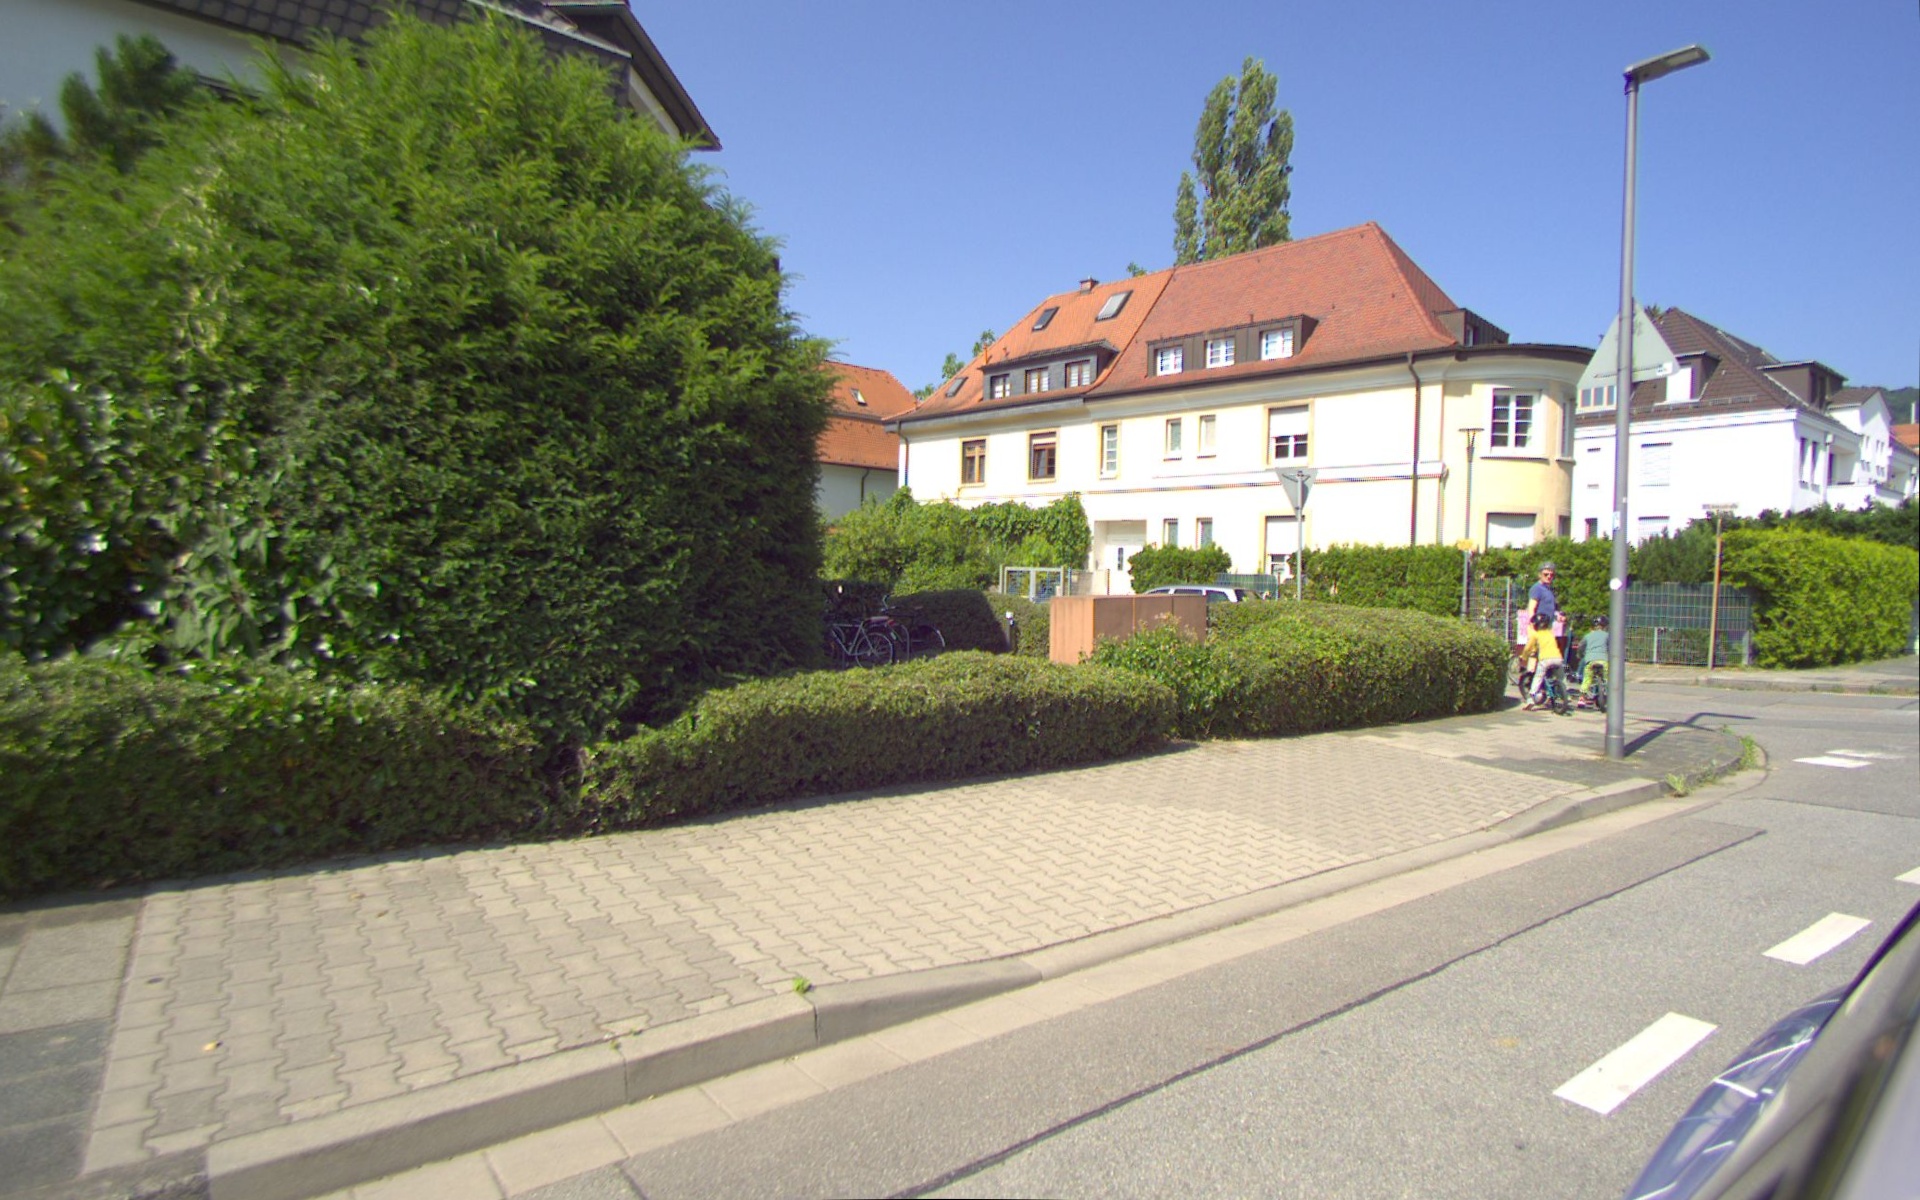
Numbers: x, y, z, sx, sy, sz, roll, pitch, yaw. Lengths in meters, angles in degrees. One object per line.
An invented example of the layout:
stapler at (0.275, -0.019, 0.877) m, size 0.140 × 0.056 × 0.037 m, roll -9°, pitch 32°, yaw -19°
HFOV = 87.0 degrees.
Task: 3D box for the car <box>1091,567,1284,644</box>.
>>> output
car at (5.121, 0.057, 23.143) m, size 1.782 × 1.588 × 3.990 m, roll -1°, pitch 2°, yaw -44°

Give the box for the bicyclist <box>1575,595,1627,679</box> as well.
bicyclist at (7.548, 0.420, 11.914) m, size 0.401 × 0.941 × 0.648 m, roll 2°, pitch 2°, yaw 43°

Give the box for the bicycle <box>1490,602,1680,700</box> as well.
bicycle at (8.765, 0.660, 14.389) m, size 0.847 × 1.172 × 2.715 m, roll 0°, pitch 2°, yaw -4°

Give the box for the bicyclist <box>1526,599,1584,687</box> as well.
bicyclist at (6.694, 0.468, 11.406) m, size 0.394 × 0.945 × 0.606 m, roll 1°, pitch 2°, yaw 15°

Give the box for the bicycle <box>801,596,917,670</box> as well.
bicycle at (-1.675, 0.534, 16.891) m, size 1.794 × 1.109 × 0.630 m, roll 3°, pitch 2°, yaw 11°

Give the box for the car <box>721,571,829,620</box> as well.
car at (-6.477, -0.193, 35.249) m, size 1.782 × 1.588 × 3.990 m, roll -1°, pitch 2°, yaw -44°

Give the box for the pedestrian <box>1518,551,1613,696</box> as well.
pedestrian at (8.287, 0.279, 13.908) m, size 0.890 × 1.895 × 1.181 m, roll 1°, pitch 2°, yaw 21°

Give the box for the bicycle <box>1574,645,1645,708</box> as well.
bicycle at (7.569, 0.877, 11.834) m, size 0.397 × 0.607 × 1.167 m, roll 1°, pitch 2°, yaw 18°

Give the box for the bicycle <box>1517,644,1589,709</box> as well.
bicycle at (6.755, 0.853, 11.560) m, size 0.396 × 0.607 × 1.146 m, roll 1°, pitch 2°, yaw 15°

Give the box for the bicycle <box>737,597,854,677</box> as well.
bicycle at (-2.537, 0.549, 15.658) m, size 1.659 × 1.109 × 0.630 m, roll 3°, pitch 2°, yaw 11°

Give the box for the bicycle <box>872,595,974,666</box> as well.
bicycle at (-0.673, 0.518, 17.965) m, size 1.813 × 1.109 × 0.624 m, roll 4°, pitch 2°, yaw 37°
